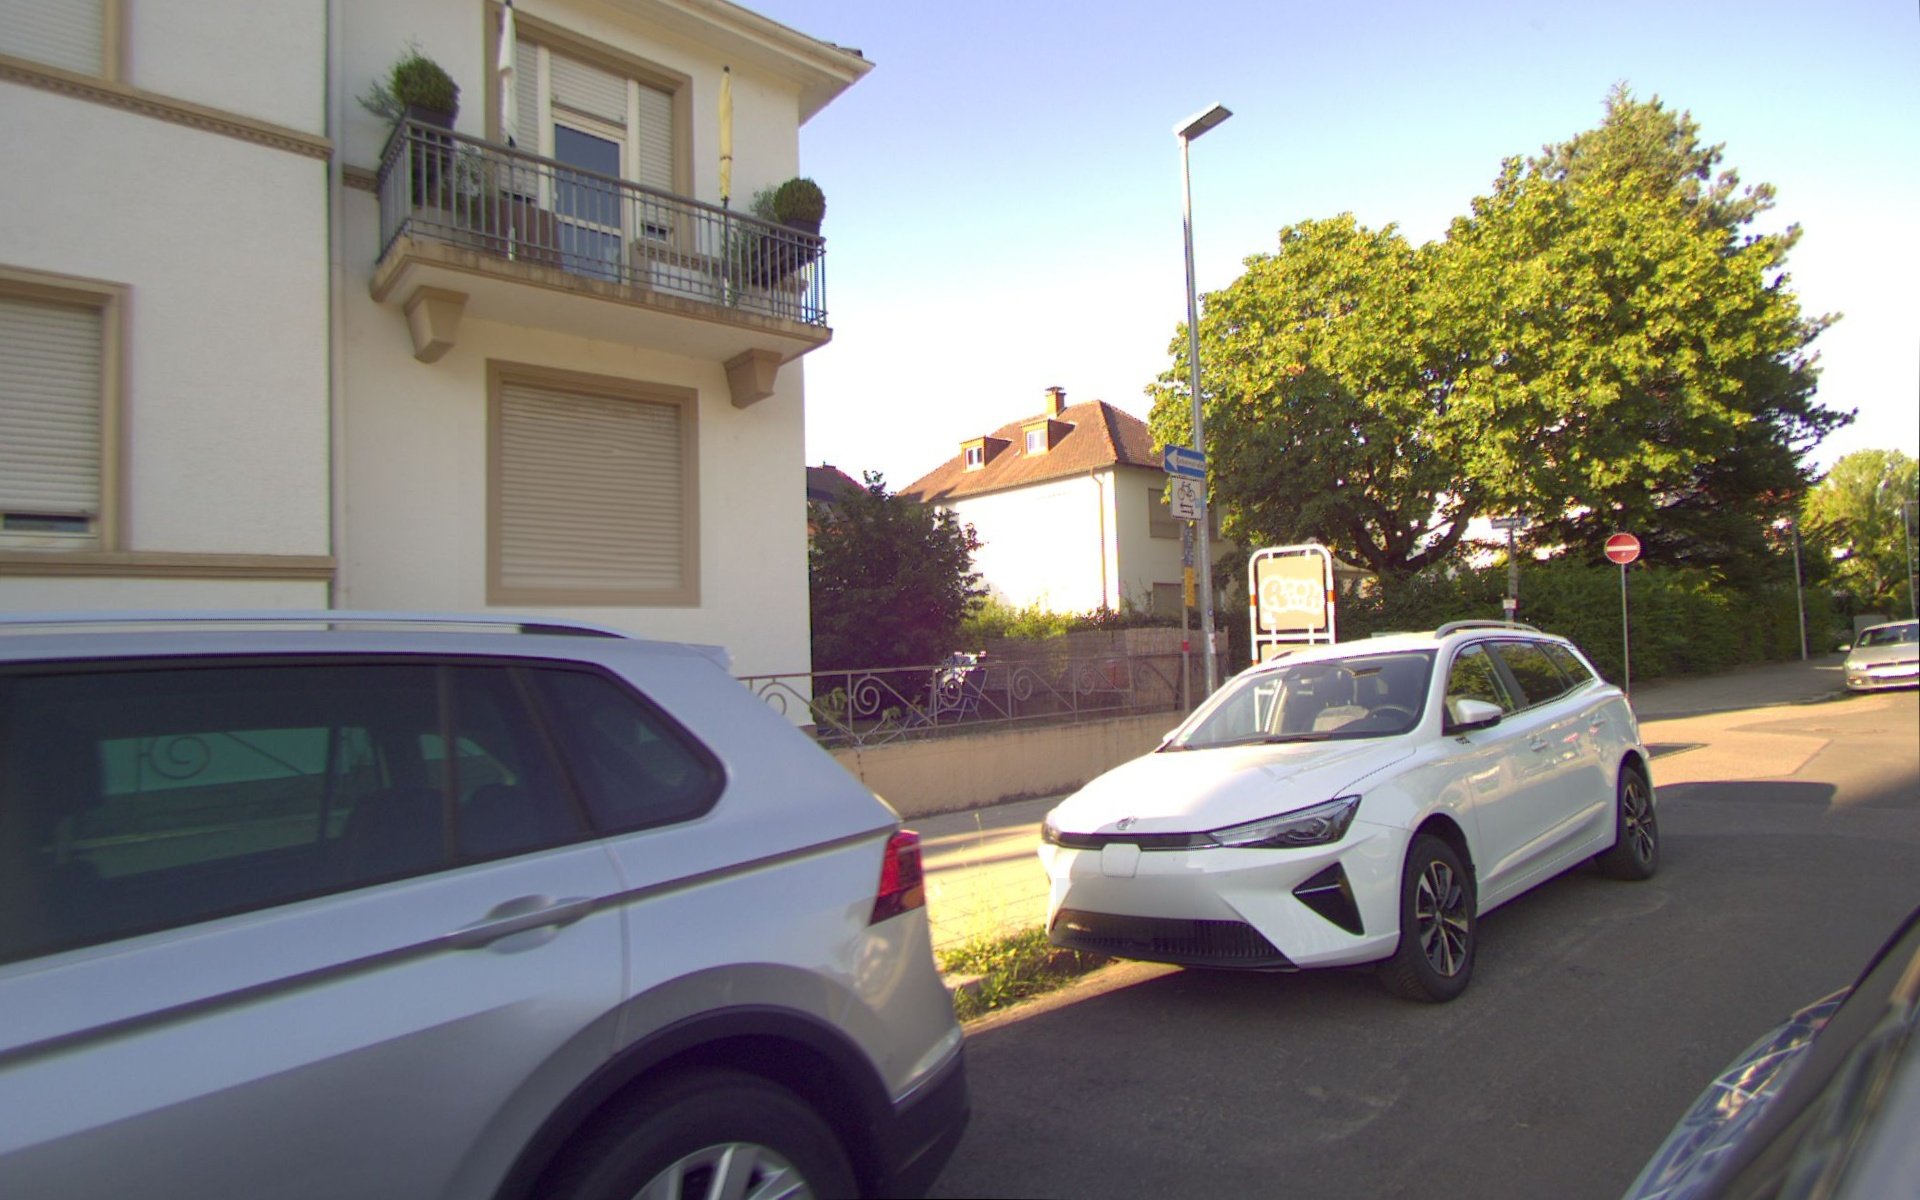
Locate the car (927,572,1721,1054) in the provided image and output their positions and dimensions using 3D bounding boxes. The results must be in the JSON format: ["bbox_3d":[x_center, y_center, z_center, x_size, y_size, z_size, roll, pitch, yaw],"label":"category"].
[{"bbox_3d":[2.237,0.799,5.533,4.508,1.554,1.878,-2,-8,-40],"label":"car"}]

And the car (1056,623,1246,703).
[{"bbox_3d":[4.250,1.510,23.002,1.841,1.618,3.908,5,-8,-40],"label":"car"}]

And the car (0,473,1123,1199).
[{"bbox_3d":[-1.954,0.812,1.603,4.507,1.670,1.802,-2,-8,-43],"label":"car"}]

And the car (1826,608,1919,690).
[{"bbox_3d":[19.481,0.908,20.533,4.059,1.423,2.108,0,-9,-41],"label":"car"}]
